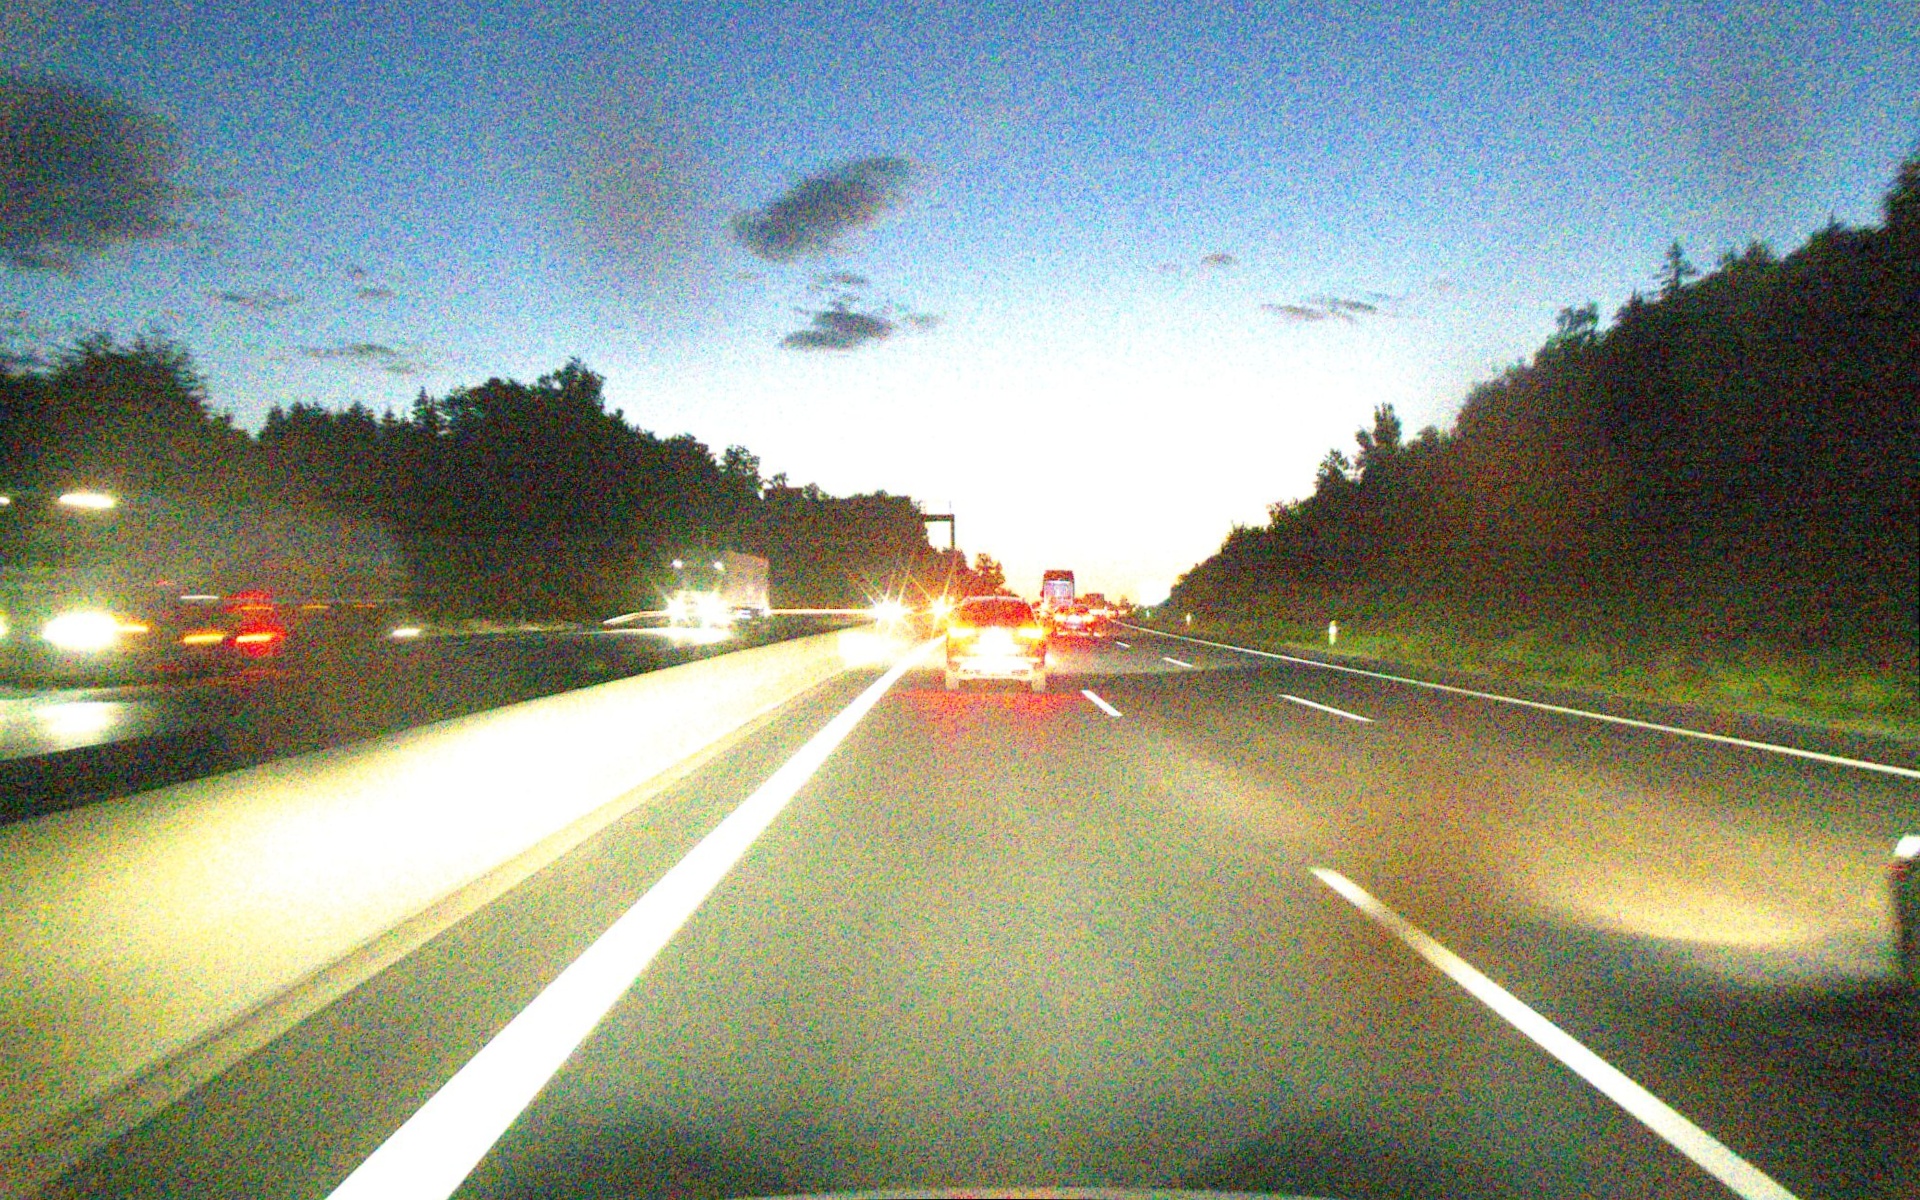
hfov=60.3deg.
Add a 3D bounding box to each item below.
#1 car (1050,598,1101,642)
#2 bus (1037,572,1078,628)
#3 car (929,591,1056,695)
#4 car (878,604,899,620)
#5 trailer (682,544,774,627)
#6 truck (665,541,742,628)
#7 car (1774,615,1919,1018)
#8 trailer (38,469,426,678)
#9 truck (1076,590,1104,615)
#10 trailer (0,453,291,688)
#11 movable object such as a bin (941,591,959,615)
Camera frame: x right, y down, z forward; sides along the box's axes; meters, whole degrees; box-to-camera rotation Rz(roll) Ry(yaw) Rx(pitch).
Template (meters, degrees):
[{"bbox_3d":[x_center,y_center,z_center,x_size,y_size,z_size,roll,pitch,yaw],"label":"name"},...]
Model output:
[{"bbox_3d":[5.056,0.897,72.851,1.872,1.760,3.999,3,-1,0],"label":"car"},{"bbox_3d":[8.030,0.106,134.477,2.596,4.064,14.709,-2,-2,6],"label":"bus"},{"bbox_3d":[0.524,0.706,29.570,2.063,1.646,4.204,2,1,-1],"label":"car"},{"bbox_3d":[-6.786,1.112,156.975,1.775,1.478,4.134,1,0,1],"label":"car"},{"bbox_3d":[-13.533,-0.743,97.909,2.793,4.511,13.985,1,0,3],"label":"trailer"},{"bbox_3d":[-13.896,-0.781,90.090,2.793,4.511,6.398,1,0,3],"label":"truck"},{"bbox_3d":[4.377,0.797,4.404,1.798,1.425,5.067,1,0,-2],"label":"car"},{"bbox_3d":[-15.205,-0.460,36.116,2.994,3.753,11.688,1,0,1],"label":"trailer"},{"bbox_3d":[16.567,0.283,211.723,2.495,3.069,9.048,1,0,-2],"label":"truck"},{"bbox_3d":[-15.338,-0.486,30.285,2.994,3.753,7.230,1,0,1],"label":"trailer"},{"bbox_3d":[-1.415,0.446,243.328,2.161,3.477,7.440,0,0,4],"label":"movable object such as a bin"}]
